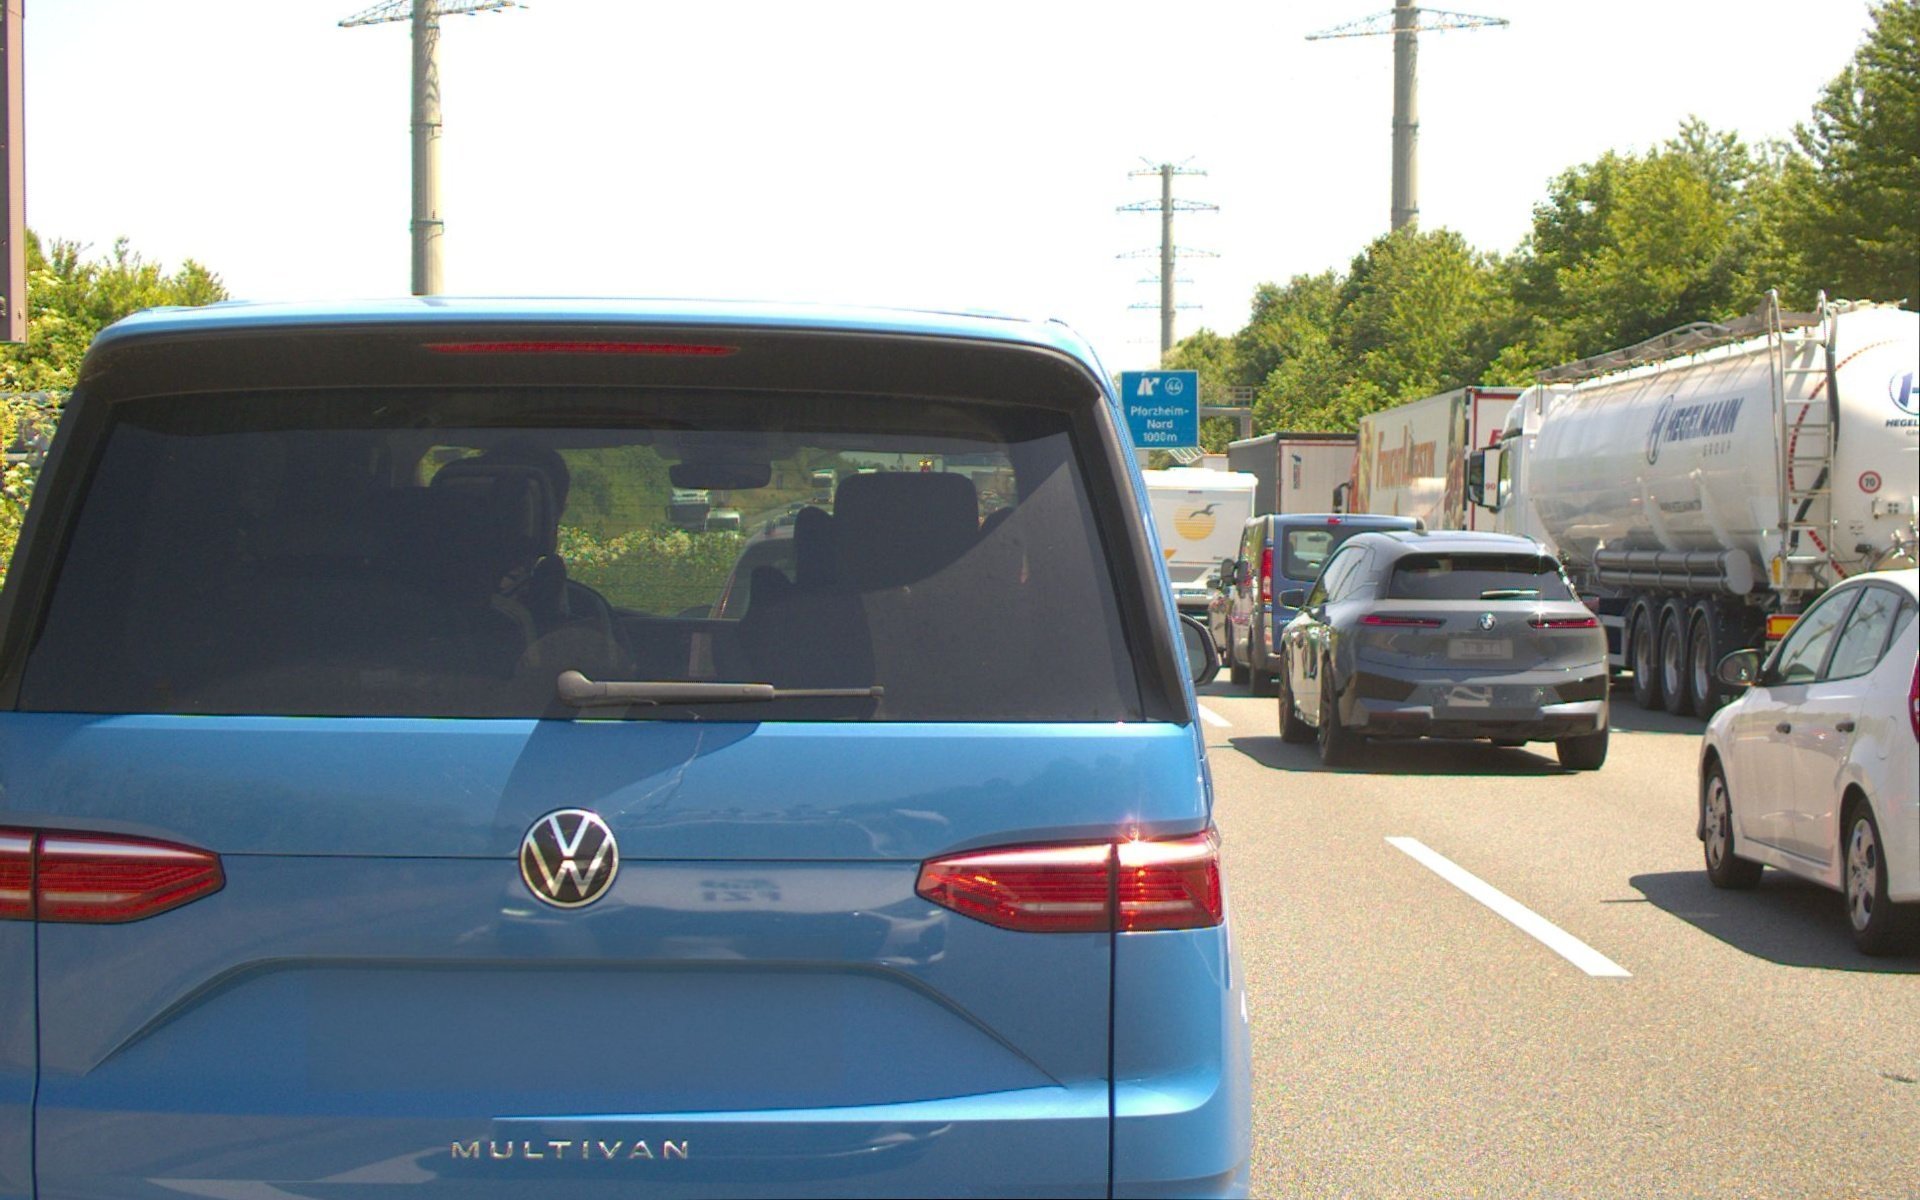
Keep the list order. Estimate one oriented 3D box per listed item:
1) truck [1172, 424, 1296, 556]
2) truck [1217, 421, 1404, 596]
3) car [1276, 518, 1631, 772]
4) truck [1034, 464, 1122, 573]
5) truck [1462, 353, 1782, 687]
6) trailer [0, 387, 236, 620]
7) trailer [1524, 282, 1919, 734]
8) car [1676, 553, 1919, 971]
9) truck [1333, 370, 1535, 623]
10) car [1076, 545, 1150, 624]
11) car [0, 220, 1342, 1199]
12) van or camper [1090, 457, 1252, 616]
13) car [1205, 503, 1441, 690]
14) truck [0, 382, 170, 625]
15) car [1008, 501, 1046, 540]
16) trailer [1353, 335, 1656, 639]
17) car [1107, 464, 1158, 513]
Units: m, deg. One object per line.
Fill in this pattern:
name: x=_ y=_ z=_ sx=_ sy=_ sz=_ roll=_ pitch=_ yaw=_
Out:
truck: x=8.281 y=-3.244 z=105.502 sx=2.895 sy=3.753 sz=13.345 roll=0 pitch=0 yaw=1
truck: x=8.121 y=-2.038 z=81.829 sx=3.006 sy=3.753 sz=15.713 roll=0 pitch=0 yaw=1
car: x=3.554 y=0.299 z=25.598 sx=1.999 sy=1.709 sz=4.625 roll=0 pitch=0 yaw=1
truck: x=4.168 y=-2.858 z=123.523 sx=2.895 sy=3.753 sz=10.140 roll=0 pitch=0 yaw=1
truck: x=8.017 y=-0.961 z=42.306 sx=2.793 sy=3.823 sz=5.572 roll=0 pitch=1 yaw=-1
trailer: x=-14.882 y=-1.617 z=59.484 sx=3.124 sy=3.746 sz=7.870 roll=0 pitch=1 yaw=-1
trailer: x=8.129 y=-0.863 z=34.965 sx=2.761 sy=3.831 sz=11.487 roll=0 pitch=1 yaw=-1
car: x=4.241 y=0.565 z=14.139 sx=1.817 sy=1.480 sz=4.000 roll=0 pitch=0 yaw=1
truck: x=8.637 y=-1.856 z=63.167 sx=2.912 sy=4.453 sz=5.143 roll=0 pitch=1 yaw=-1
car: x=4.031 y=-0.403 z=90.842 sx=1.836 sy=1.992 sz=4.000 roll=-1 pitch=0 yaw=1
car: x=-0.513 y=0.450 z=6.233 sx=1.920 sy=1.880 sz=4.000 roll=1 pitch=1 yaw=0
van or camper: x=4.128 y=-1.235 z=68.773 sx=2.957 sy=3.011 sz=7.102 roll=0 pitch=0 yaw=1
car: x=3.940 y=-0.038 z=38.033 sx=1.923 sy=1.919 sz=4.236 roll=-1 pitch=0 yaw=-3
truck: x=-14.818 y=-1.503 z=55.115 sx=3.071 sy=3.697 sz=5.463 roll=0 pitch=1 yaw=-1
car: x=3.688 y=-4.379 z=189.419 sx=1.993 sy=2.118 sz=4.000 roll=0 pitch=0 yaw=-1
trailer: x=8.694 y=-1.736 z=56.625 sx=2.912 sy=4.453 sz=12.155 roll=0 pitch=1 yaw=-1
car: x=7.339 y=-4.755 z=146.674 sx=1.993 sy=2.007 sz=4.000 roll=0 pitch=0 yaw=0
